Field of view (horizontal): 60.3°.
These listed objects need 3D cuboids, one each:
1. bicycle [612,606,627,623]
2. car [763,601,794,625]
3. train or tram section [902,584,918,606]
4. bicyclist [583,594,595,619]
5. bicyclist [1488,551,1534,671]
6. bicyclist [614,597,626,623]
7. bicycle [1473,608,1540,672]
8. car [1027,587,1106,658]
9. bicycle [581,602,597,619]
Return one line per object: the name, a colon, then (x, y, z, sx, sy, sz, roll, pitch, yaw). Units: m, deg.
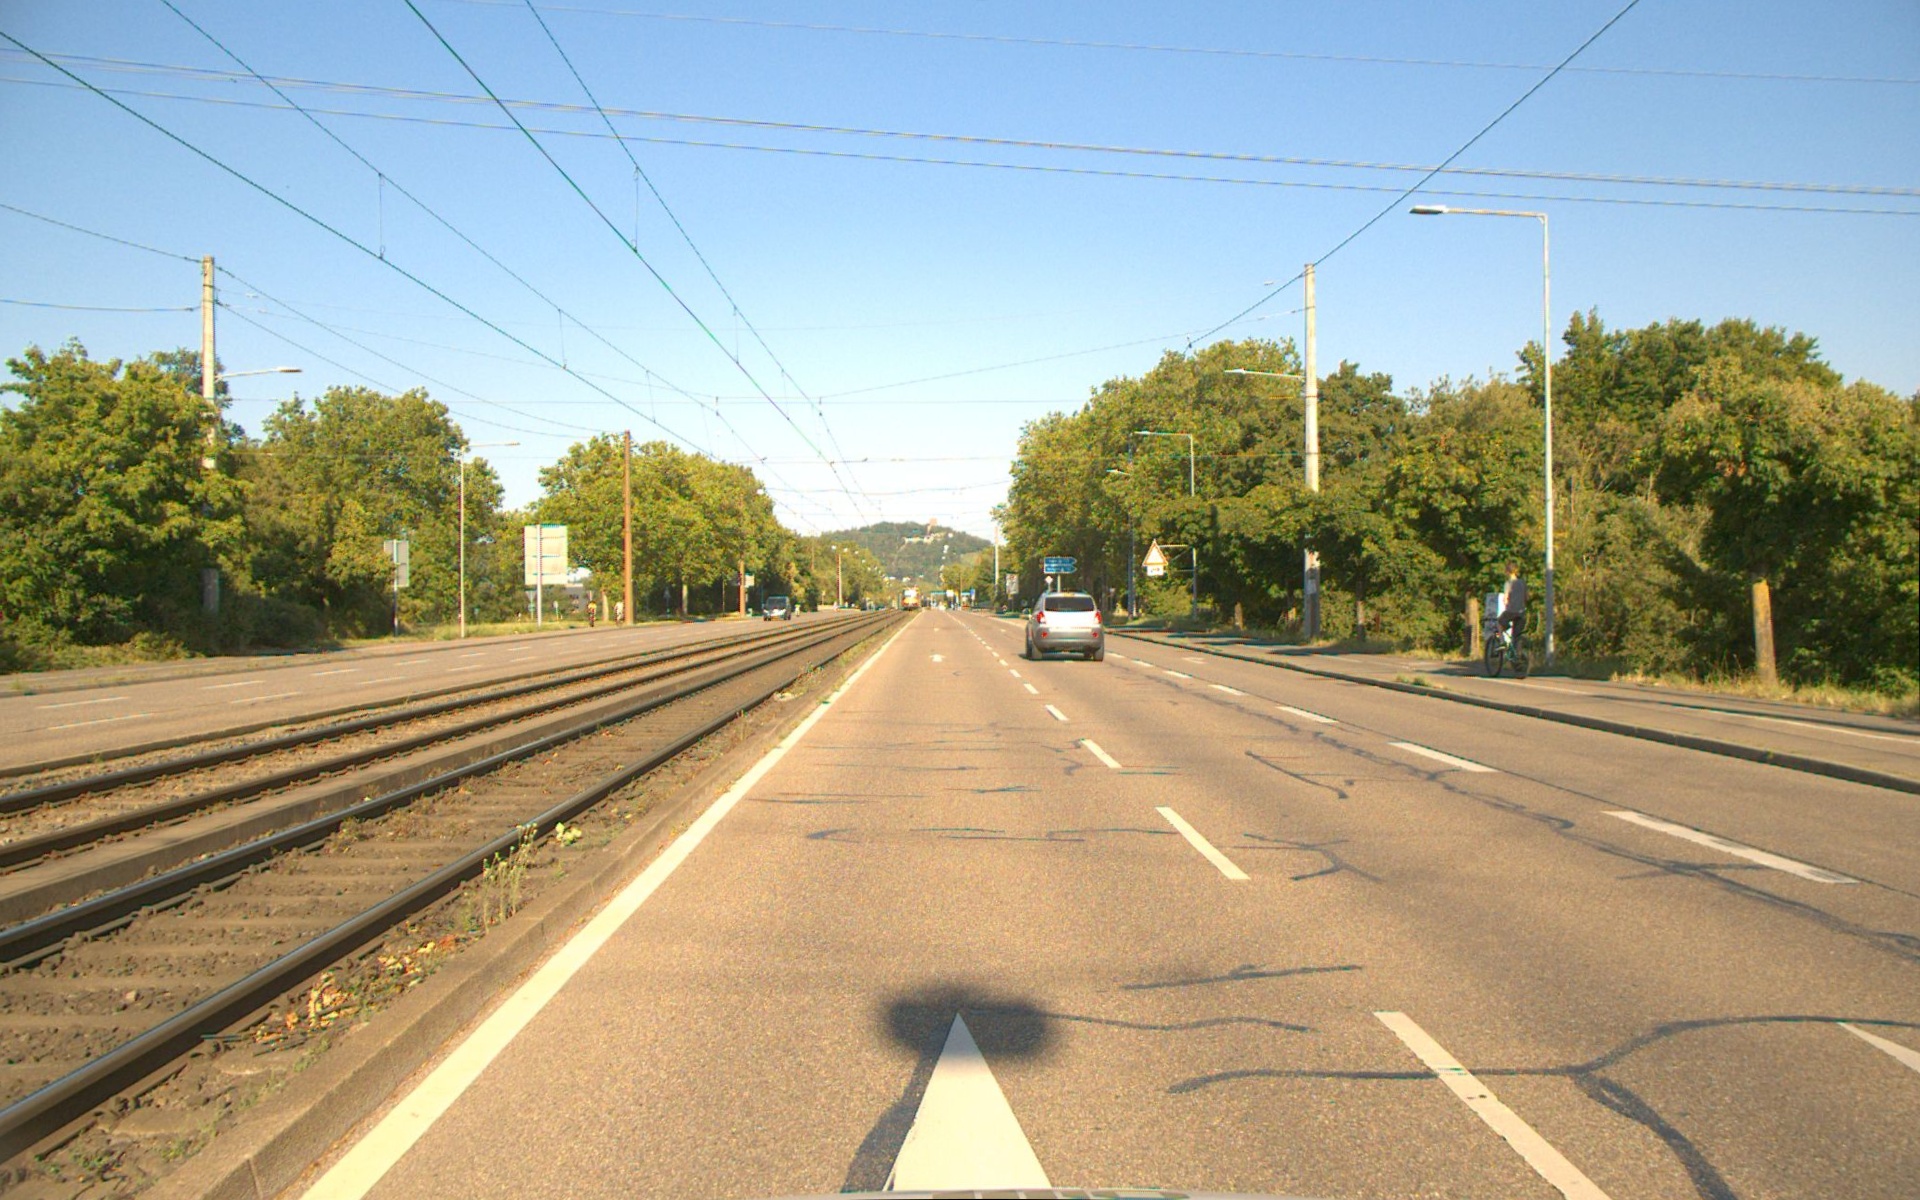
bicycle: (-21.791, 0.939, 105.981, 0.578, 1.040, 2.185, 0, 0, -2)
car: (-14.821, 1.056, 135.567, 1.952, 1.956, 4.860, -1, 0, 0)
train or tram section: (-7.733, -0.757, 258.125, 2.264, 3.273, 9.473, 2, 0, -1)
bicyclist: (-23.253, 0.380, 103.705, 0.578, 1.555, 0.906, 0, -1, -2)
bicyclist: (9.619, 0.191, 28.869, 0.516, 2.052, 0.729, 2, -1, 0)
bicyclist: (-21.790, 0.627, 106.065, 0.578, 1.639, 0.967, 0, -1, -2)
bicycle: (9.607, 0.688, 29.135, 0.516, 1.079, 1.971, 2, -1, 0)
car: (2.699, 0.574, 42.703, 1.849, 1.723, 4.257, 0, -1, 1)
bicycle: (-23.255, 0.655, 103.670, 0.578, 1.040, 2.185, 0, 0, -2)
